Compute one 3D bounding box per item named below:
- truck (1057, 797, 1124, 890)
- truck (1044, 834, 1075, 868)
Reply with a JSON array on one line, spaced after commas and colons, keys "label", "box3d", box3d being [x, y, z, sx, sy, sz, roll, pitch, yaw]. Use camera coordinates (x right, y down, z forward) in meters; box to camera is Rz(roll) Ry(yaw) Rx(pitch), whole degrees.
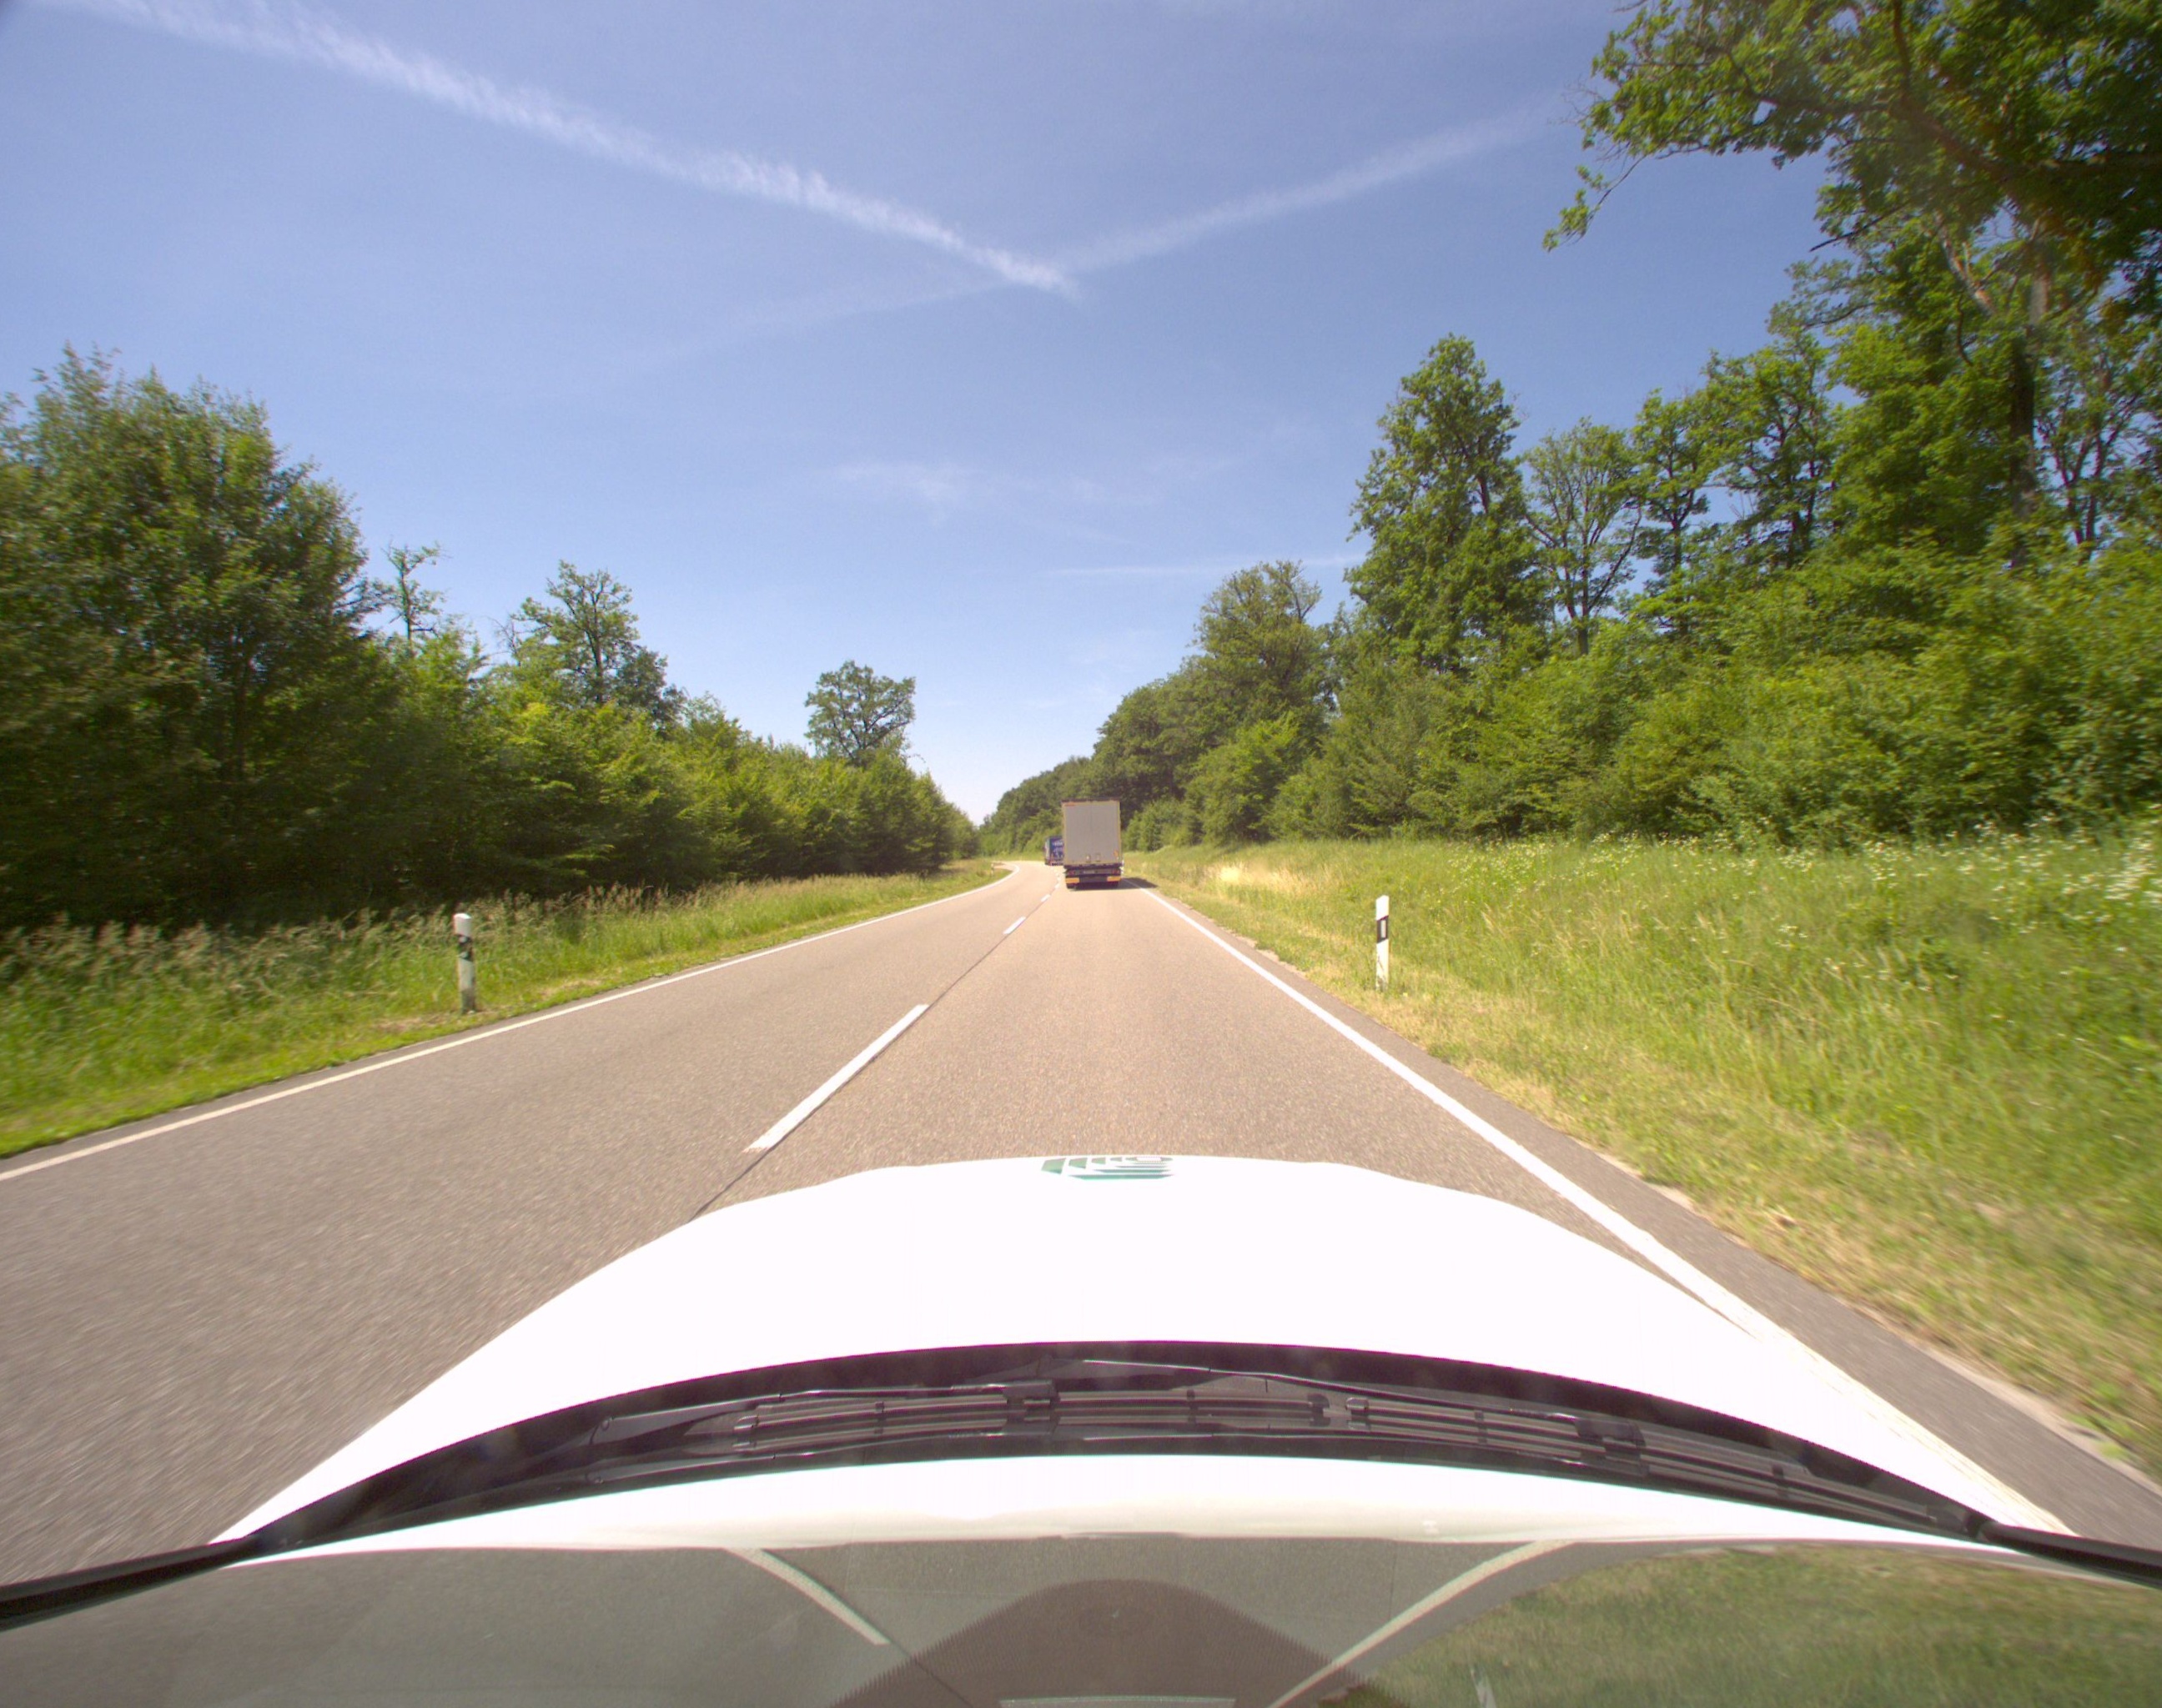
[{"label": "truck", "box3d": [0.523, -0.455, 41.005, 2.751, 3.947, 12.199, -2, 0, 1]}, {"label": "truck", "box3d": [-3.197, -0.419, 115.014, 3.786, 4.373, 14.898, -1, 0, -4]}]
